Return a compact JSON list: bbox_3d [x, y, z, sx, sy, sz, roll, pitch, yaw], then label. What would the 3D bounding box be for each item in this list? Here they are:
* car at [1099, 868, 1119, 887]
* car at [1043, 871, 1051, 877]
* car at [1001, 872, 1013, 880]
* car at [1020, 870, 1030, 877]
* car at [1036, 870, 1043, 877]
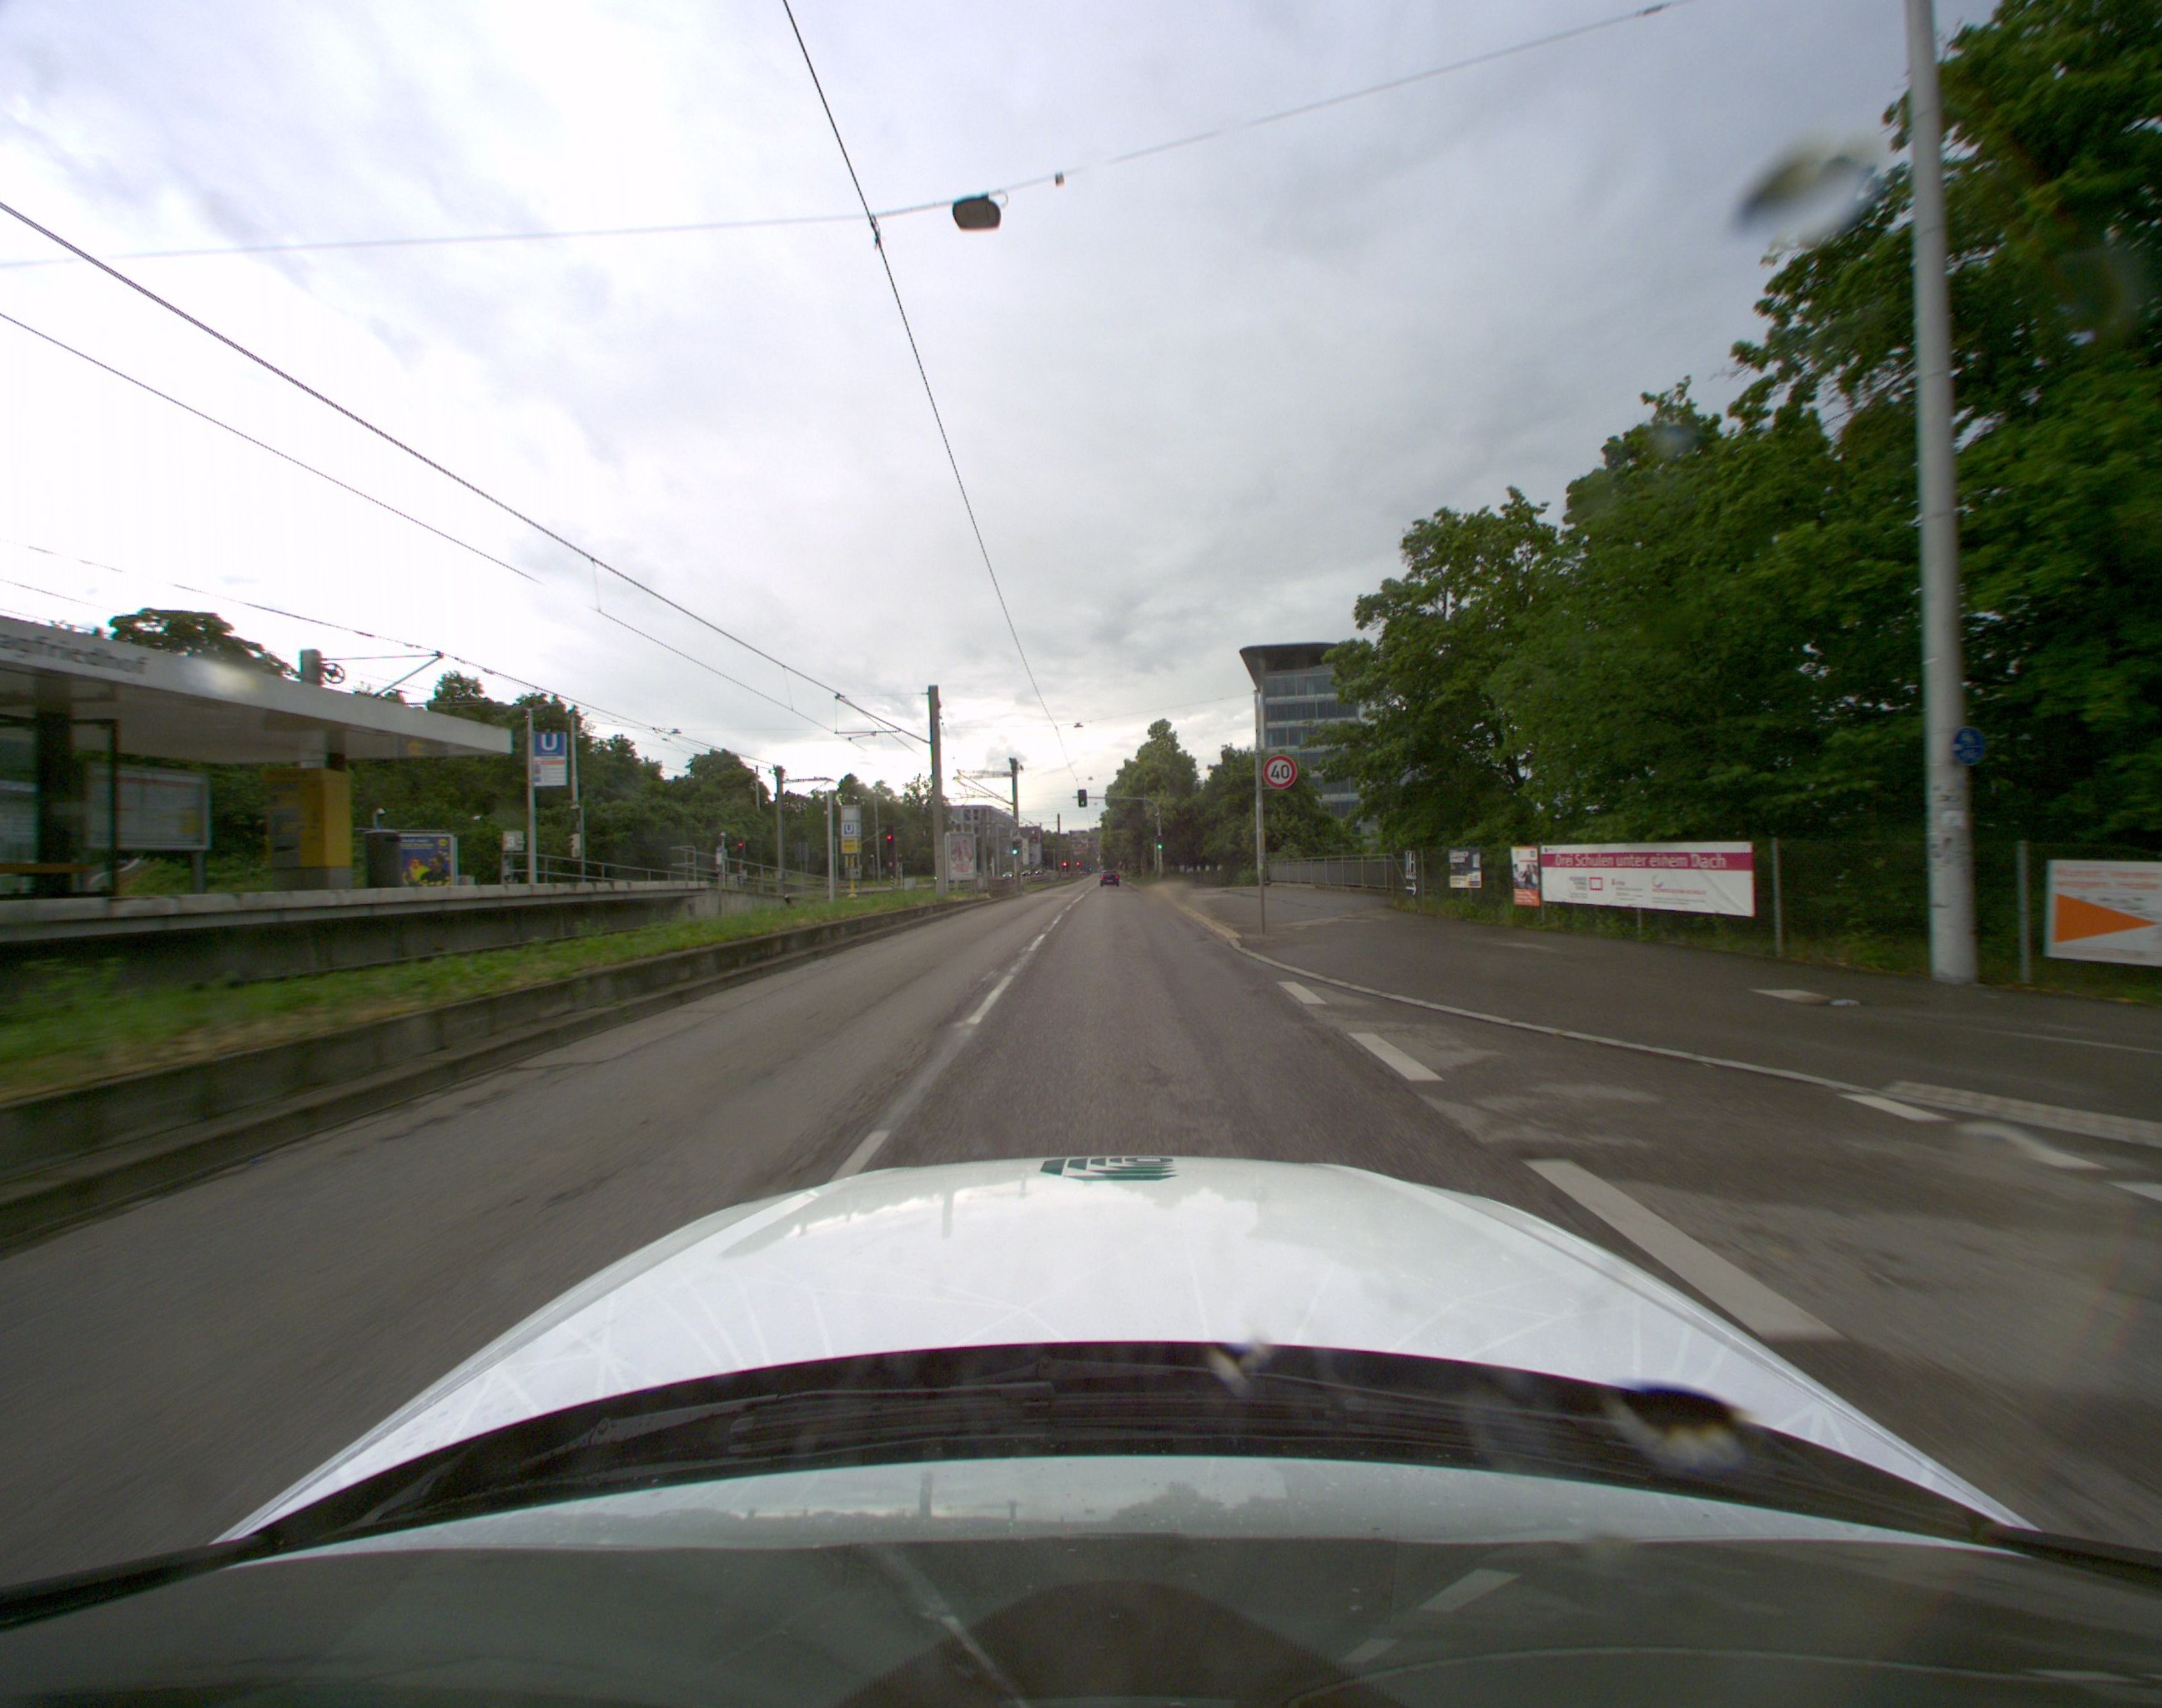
[{"bbox_3d":[2.447,2.039,71.258,1.720,1.540,4.001,1,0,1],"label":"car"},{"bbox_3d":[-10.026,5.820,241.028,1.840,1.632,3.616,1,1,6],"label":"car"},{"bbox_3d":[-16.149,4.840,177.704,1.840,1.632,3.616,1,1,6],"label":"car"},{"bbox_3d":[-14.275,5.040,208.426,1.840,1.632,3.616,1,1,6],"label":"car"},{"bbox_3d":[-11.987,5.640,235.505,1.644,1.632,3.616,1,1,6],"label":"car"}]
